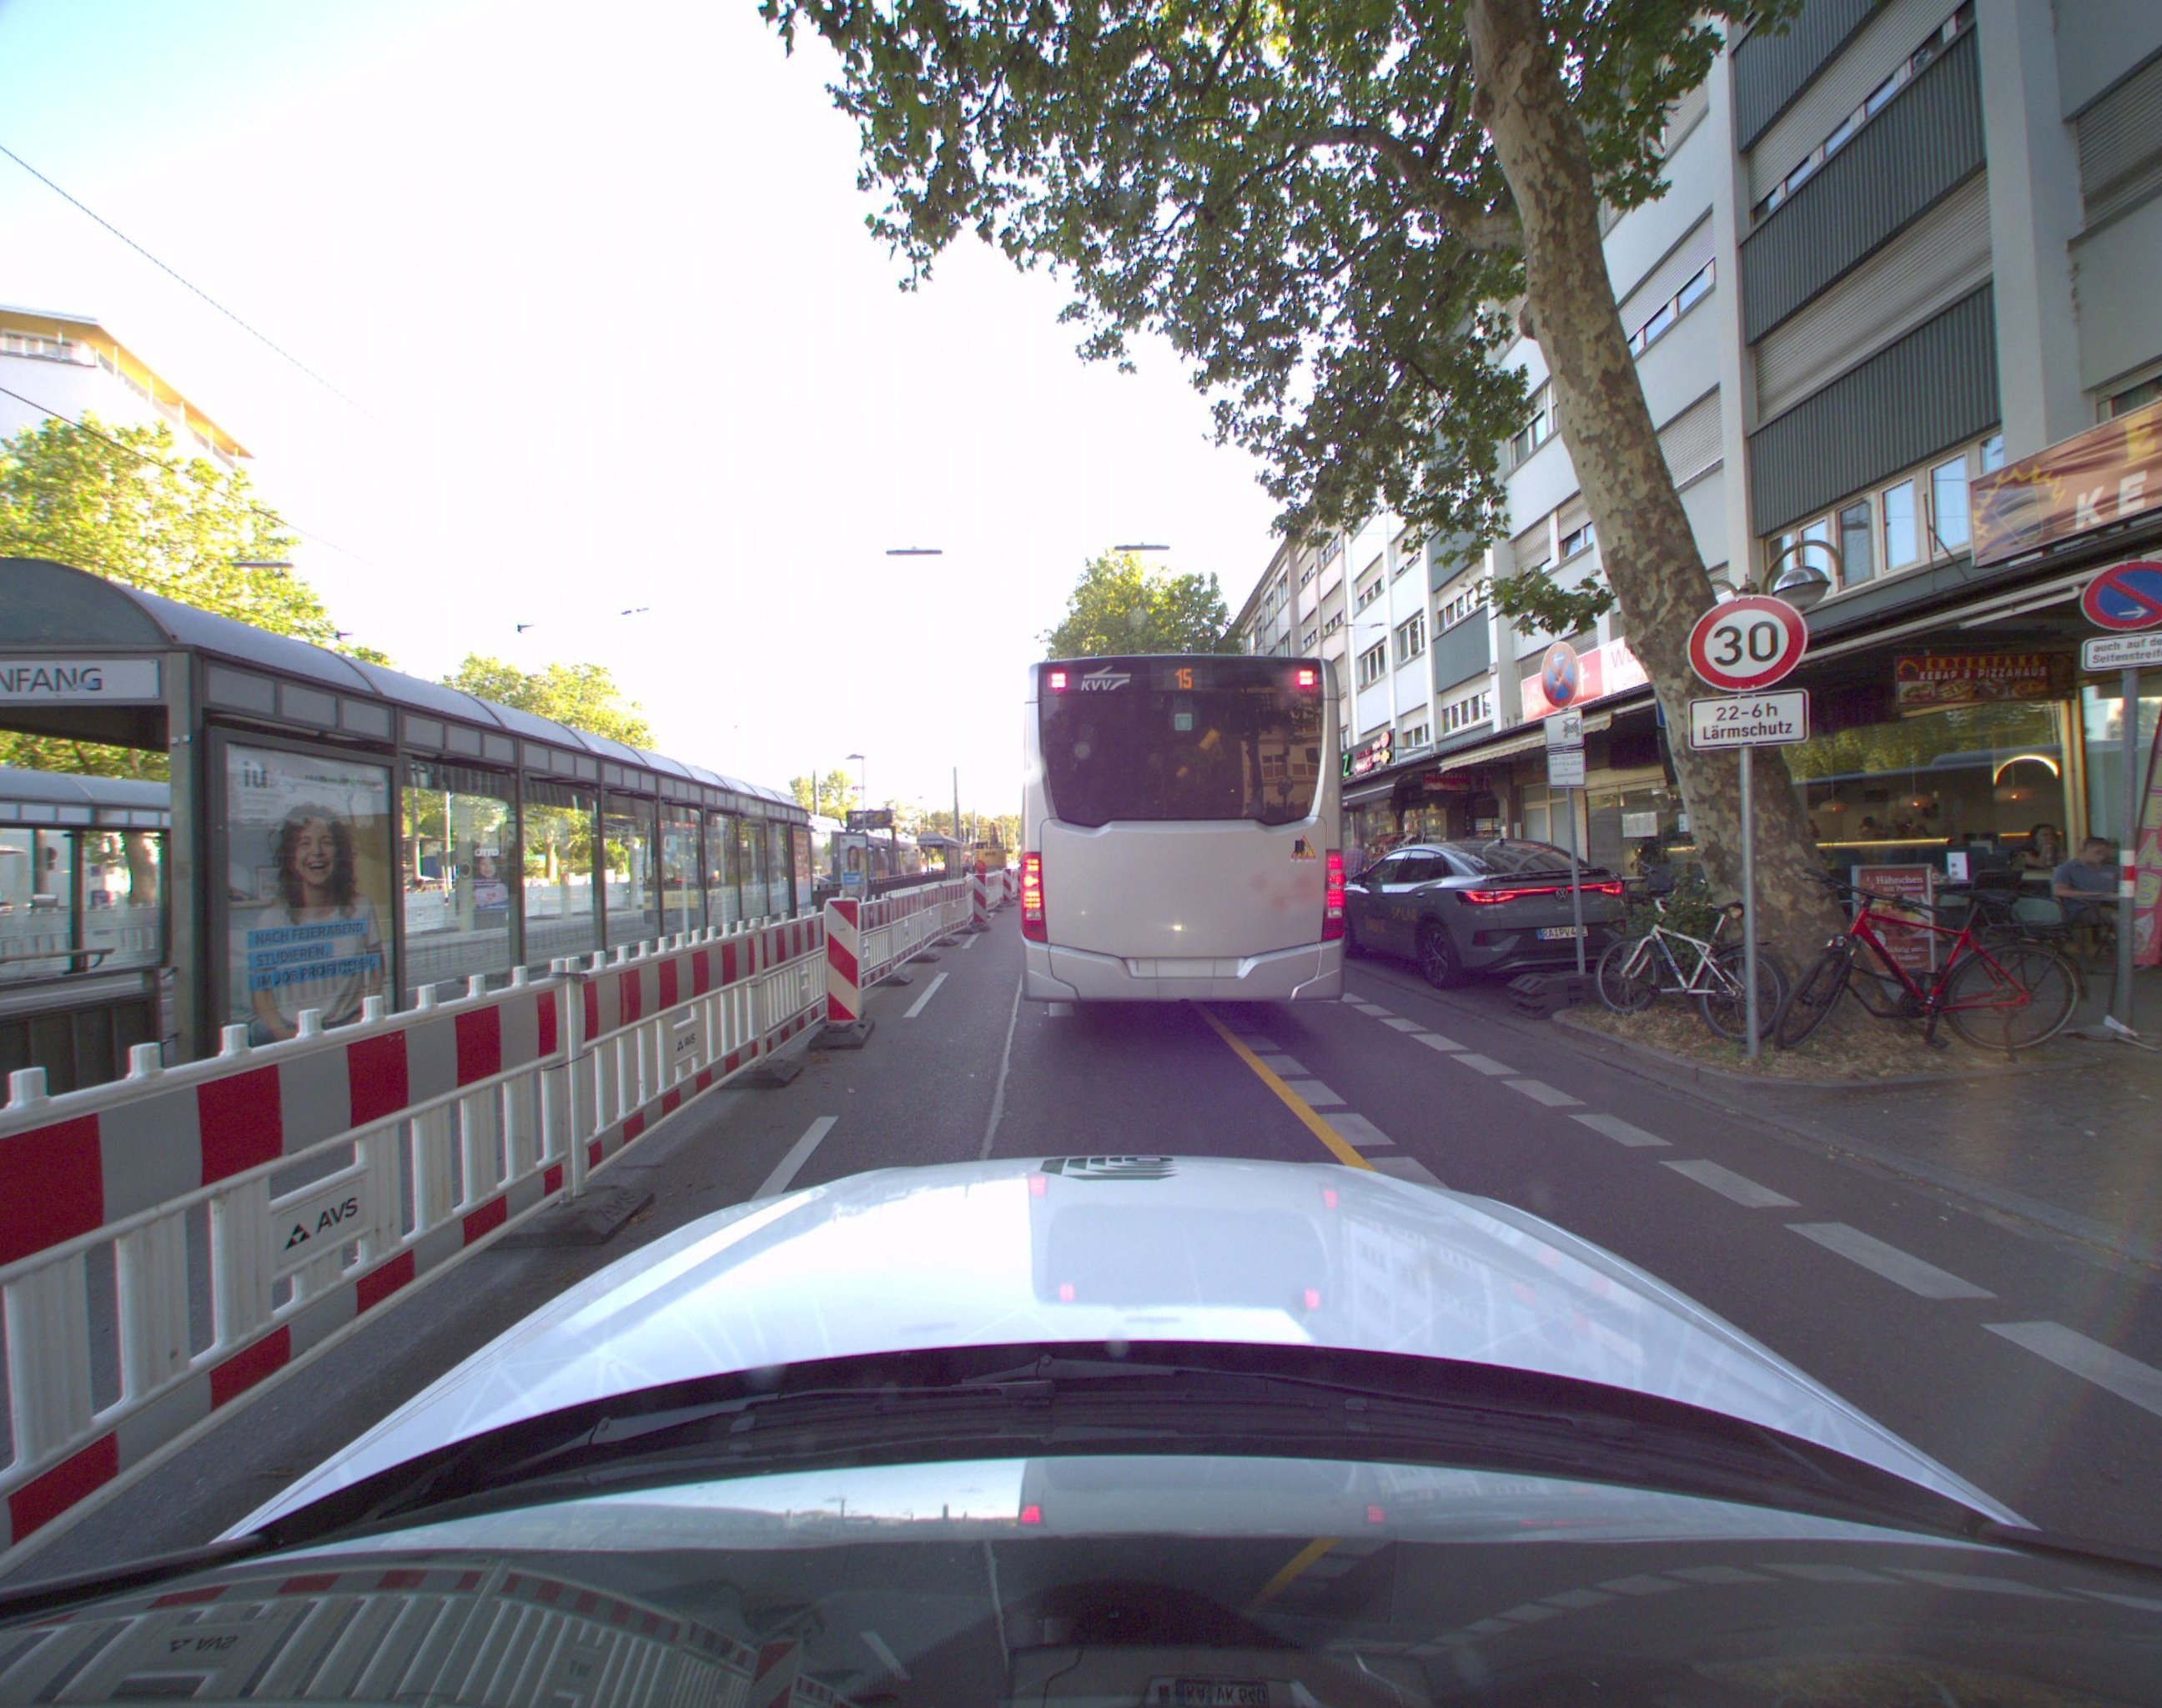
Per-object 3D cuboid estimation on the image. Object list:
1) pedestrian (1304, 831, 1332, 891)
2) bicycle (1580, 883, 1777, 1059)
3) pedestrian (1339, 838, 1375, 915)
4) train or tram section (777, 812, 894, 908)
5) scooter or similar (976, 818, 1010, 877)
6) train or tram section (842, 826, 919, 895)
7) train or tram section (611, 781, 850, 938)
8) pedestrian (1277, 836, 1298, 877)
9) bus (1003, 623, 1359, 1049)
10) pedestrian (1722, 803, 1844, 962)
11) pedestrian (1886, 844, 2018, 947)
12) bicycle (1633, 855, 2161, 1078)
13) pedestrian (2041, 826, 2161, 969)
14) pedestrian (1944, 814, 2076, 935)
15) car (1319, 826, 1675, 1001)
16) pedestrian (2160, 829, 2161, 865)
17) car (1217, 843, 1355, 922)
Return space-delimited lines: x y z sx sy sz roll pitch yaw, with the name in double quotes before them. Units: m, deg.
"pedestrian" 8.134 0.245 27.981 0.683 2.014 0.786 -2 -1 1
"bicycle" 4.574 0.835 6.354 0.550 1.155 1.446 -2 -1 6
"pedestrian" 6.125 0.496 18.096 0.658 1.666 0.603 -4 -1 18
"train or tram section" -10.406 0.264 35.920 2.682 3.558 11.559 0 -1 -5
"scooter or similar" -6.998 -0.478 65.215 2.465 4.471 5.961 -2 0 -5
"train or tram section" -11.407 0.382 47.456 2.683 3.533 11.558 0 -1 -6
"train or tram section" -9.569 0.156 24.270 2.681 3.534 11.756 0 -1 -3
"pedestrian" 9.482 0.130 37.461 0.684 1.836 0.785 -2 -1 -1
"bus" 0.855 -0.109 9.986 2.601 3.126 7.996 0 0 2
"pedestrian" 7.707 0.304 8.975 0.580 1.646 0.796 -2 -1 0
"pedestrian" 9.857 0.452 9.227 0.643 1.081 0.945 -2 -1 -39
"bicycle" 5.059 0.722 5.213 2.370 1.155 0.557 -7 -2 14
"pedestrian" 9.624 0.385 7.556 0.555 1.245 0.692 -4 0 8
"pedestrian" 11.005 0.229 9.659 0.836 1.333 0.963 -2 -1 -39
"car" 4.730 0.575 10.166 1.989 1.582 4.364 -4 0 -3
"pedestrian" 9.521 0.392 6.606 0.556 1.245 0.691 -4 0 3
"car" 4.823 0.621 19.840 1.989 1.582 4.364 -4 0 -3
